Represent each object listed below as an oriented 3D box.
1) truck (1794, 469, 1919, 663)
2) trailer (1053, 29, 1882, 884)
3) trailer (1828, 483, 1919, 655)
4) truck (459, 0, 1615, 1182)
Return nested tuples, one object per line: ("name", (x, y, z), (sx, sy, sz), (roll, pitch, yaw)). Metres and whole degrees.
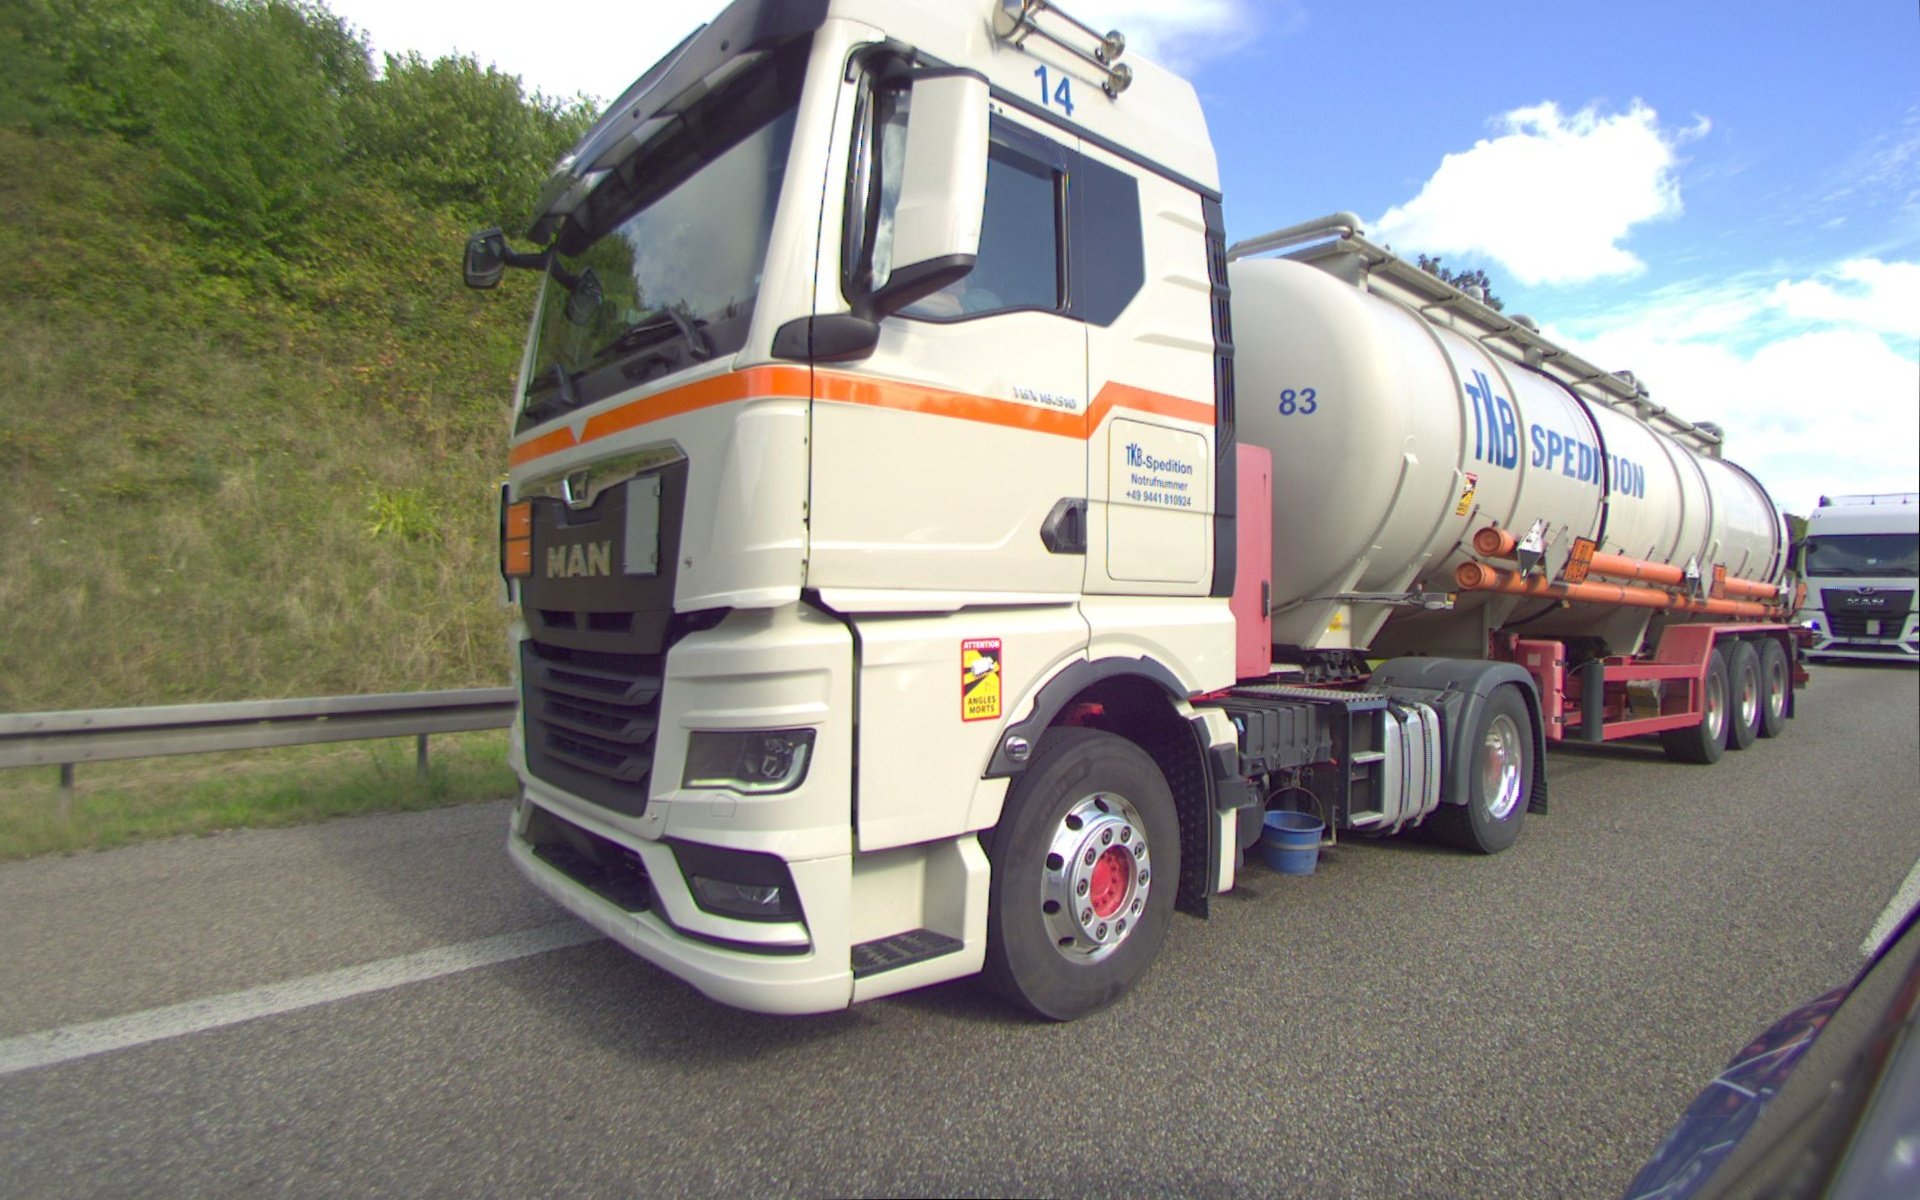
("truck", (22.071, -0.745, 23.785), (5.606, 4.122, 2.840), (0, 1, -40))
("trailer", (5.741, -0.727, 9.450), (10.983, 4.077, 2.804), (0, 1, -40))
("trailer", (27.821, -0.778, 28.640), (13.134, 4.122, 2.832), (0, 1, -40))
("truck", (0.847, -0.701, 5.351), (5.799, 4.094, 2.809), (0, 1, -40))
